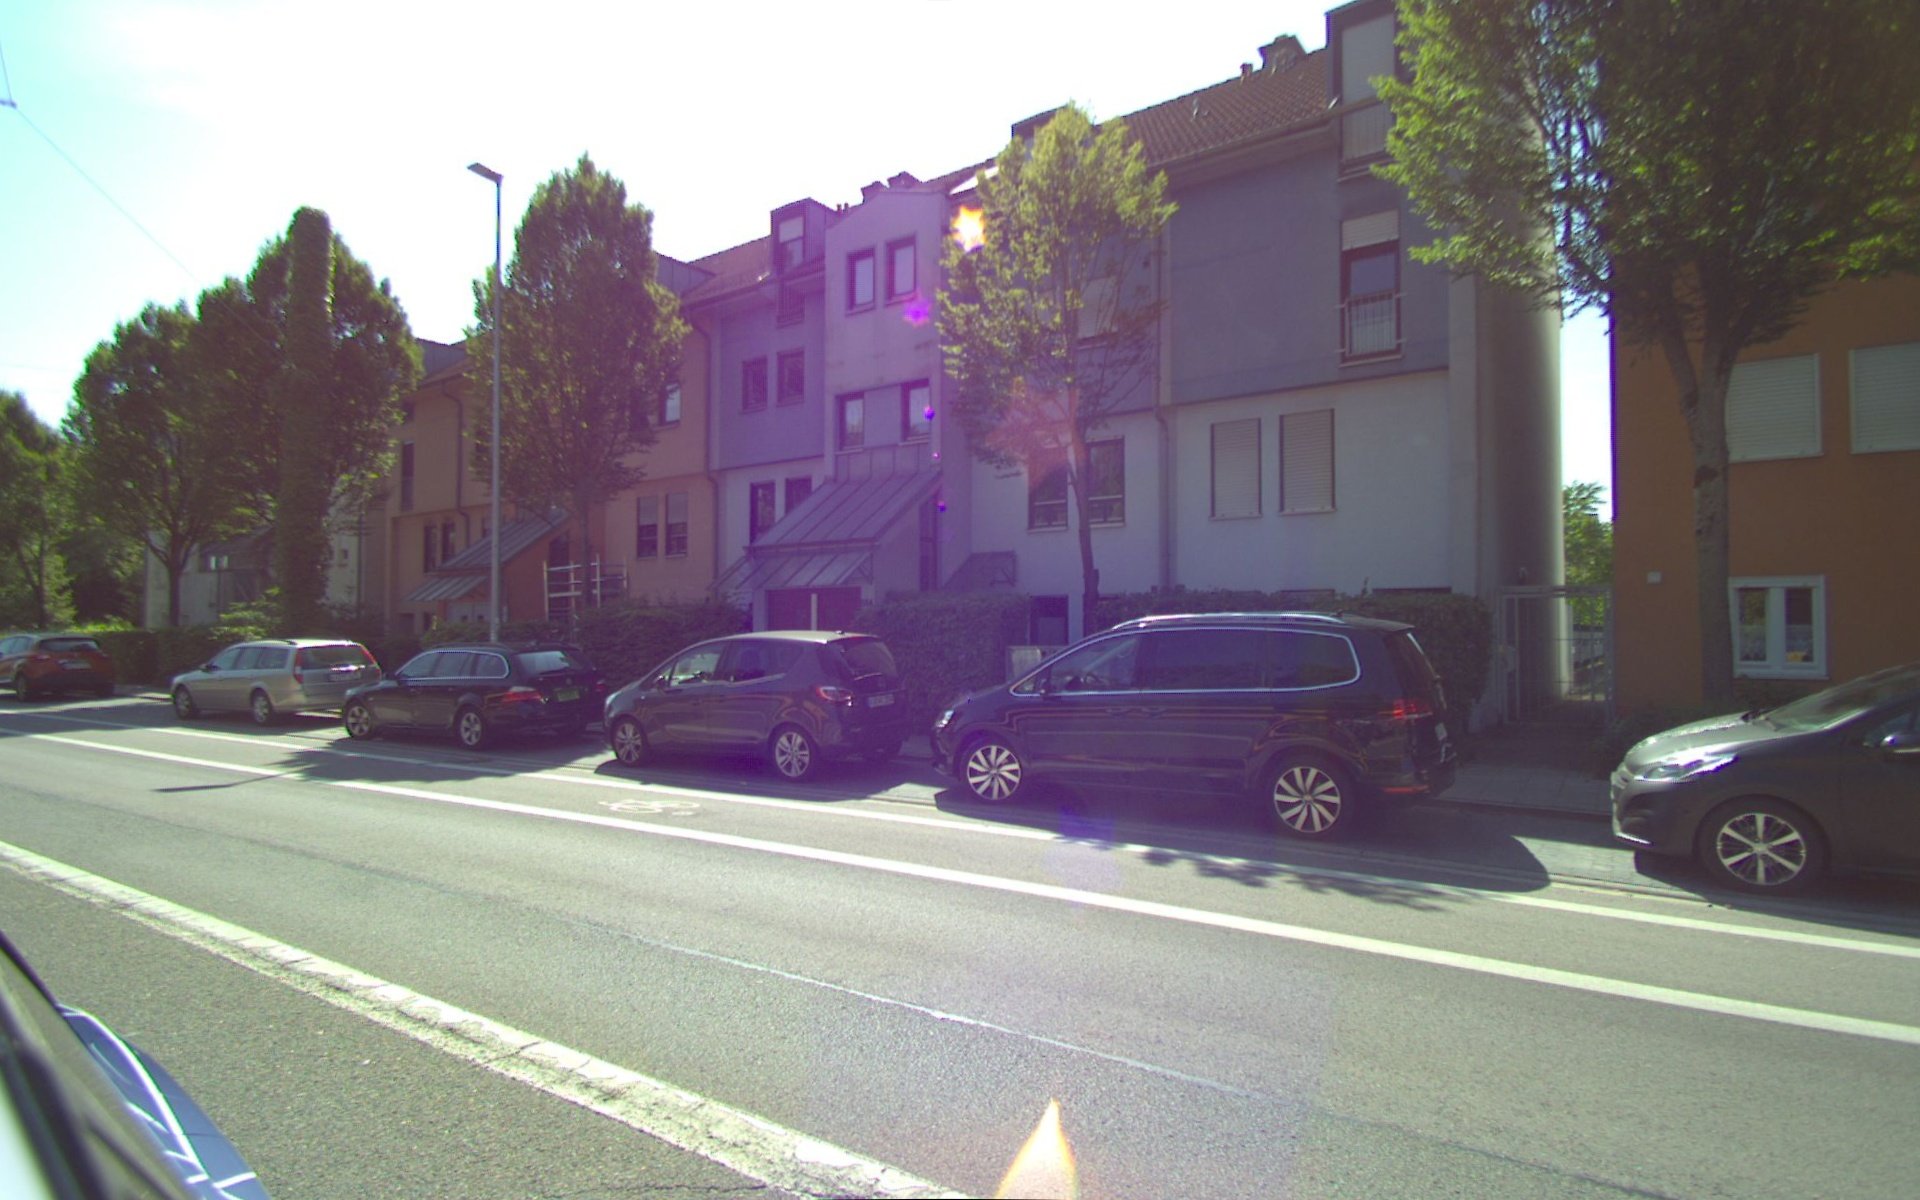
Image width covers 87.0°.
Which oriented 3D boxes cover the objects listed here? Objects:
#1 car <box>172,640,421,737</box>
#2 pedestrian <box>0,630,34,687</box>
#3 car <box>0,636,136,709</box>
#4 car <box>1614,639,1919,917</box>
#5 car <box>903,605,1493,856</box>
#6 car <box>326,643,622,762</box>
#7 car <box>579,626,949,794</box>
[{"bbox_3d":[-12.151,1.526,18.454,4.835,1.495,1.769,-1,-1,29],"label":"car"},{"bbox_3d":[-28.858,1.753,30.631,1.050,1.704,0.869,-1,-3,28],"label":"pedestrian"},{"bbox_3d":[-21.640,1.677,24.038,4.299,1.563,1.720,-1,-1,29],"label":"car"},{"bbox_3d":[6.381,1.024,6.115,4.037,1.485,1.677,-1,0,33],"label":"car"},{"bbox_3d":[1.995,0.972,9.104,4.852,1.736,1.757,-1,0,31],"label":"car"},{"bbox_3d":[-7.399,1.430,15.261,4.696,1.485,1.711,-1,-1,30],"label":"car"},{"bbox_3d":[-2.400,1.168,12.001,4.298,1.637,1.704,-2,-1,32],"label":"car"}]
